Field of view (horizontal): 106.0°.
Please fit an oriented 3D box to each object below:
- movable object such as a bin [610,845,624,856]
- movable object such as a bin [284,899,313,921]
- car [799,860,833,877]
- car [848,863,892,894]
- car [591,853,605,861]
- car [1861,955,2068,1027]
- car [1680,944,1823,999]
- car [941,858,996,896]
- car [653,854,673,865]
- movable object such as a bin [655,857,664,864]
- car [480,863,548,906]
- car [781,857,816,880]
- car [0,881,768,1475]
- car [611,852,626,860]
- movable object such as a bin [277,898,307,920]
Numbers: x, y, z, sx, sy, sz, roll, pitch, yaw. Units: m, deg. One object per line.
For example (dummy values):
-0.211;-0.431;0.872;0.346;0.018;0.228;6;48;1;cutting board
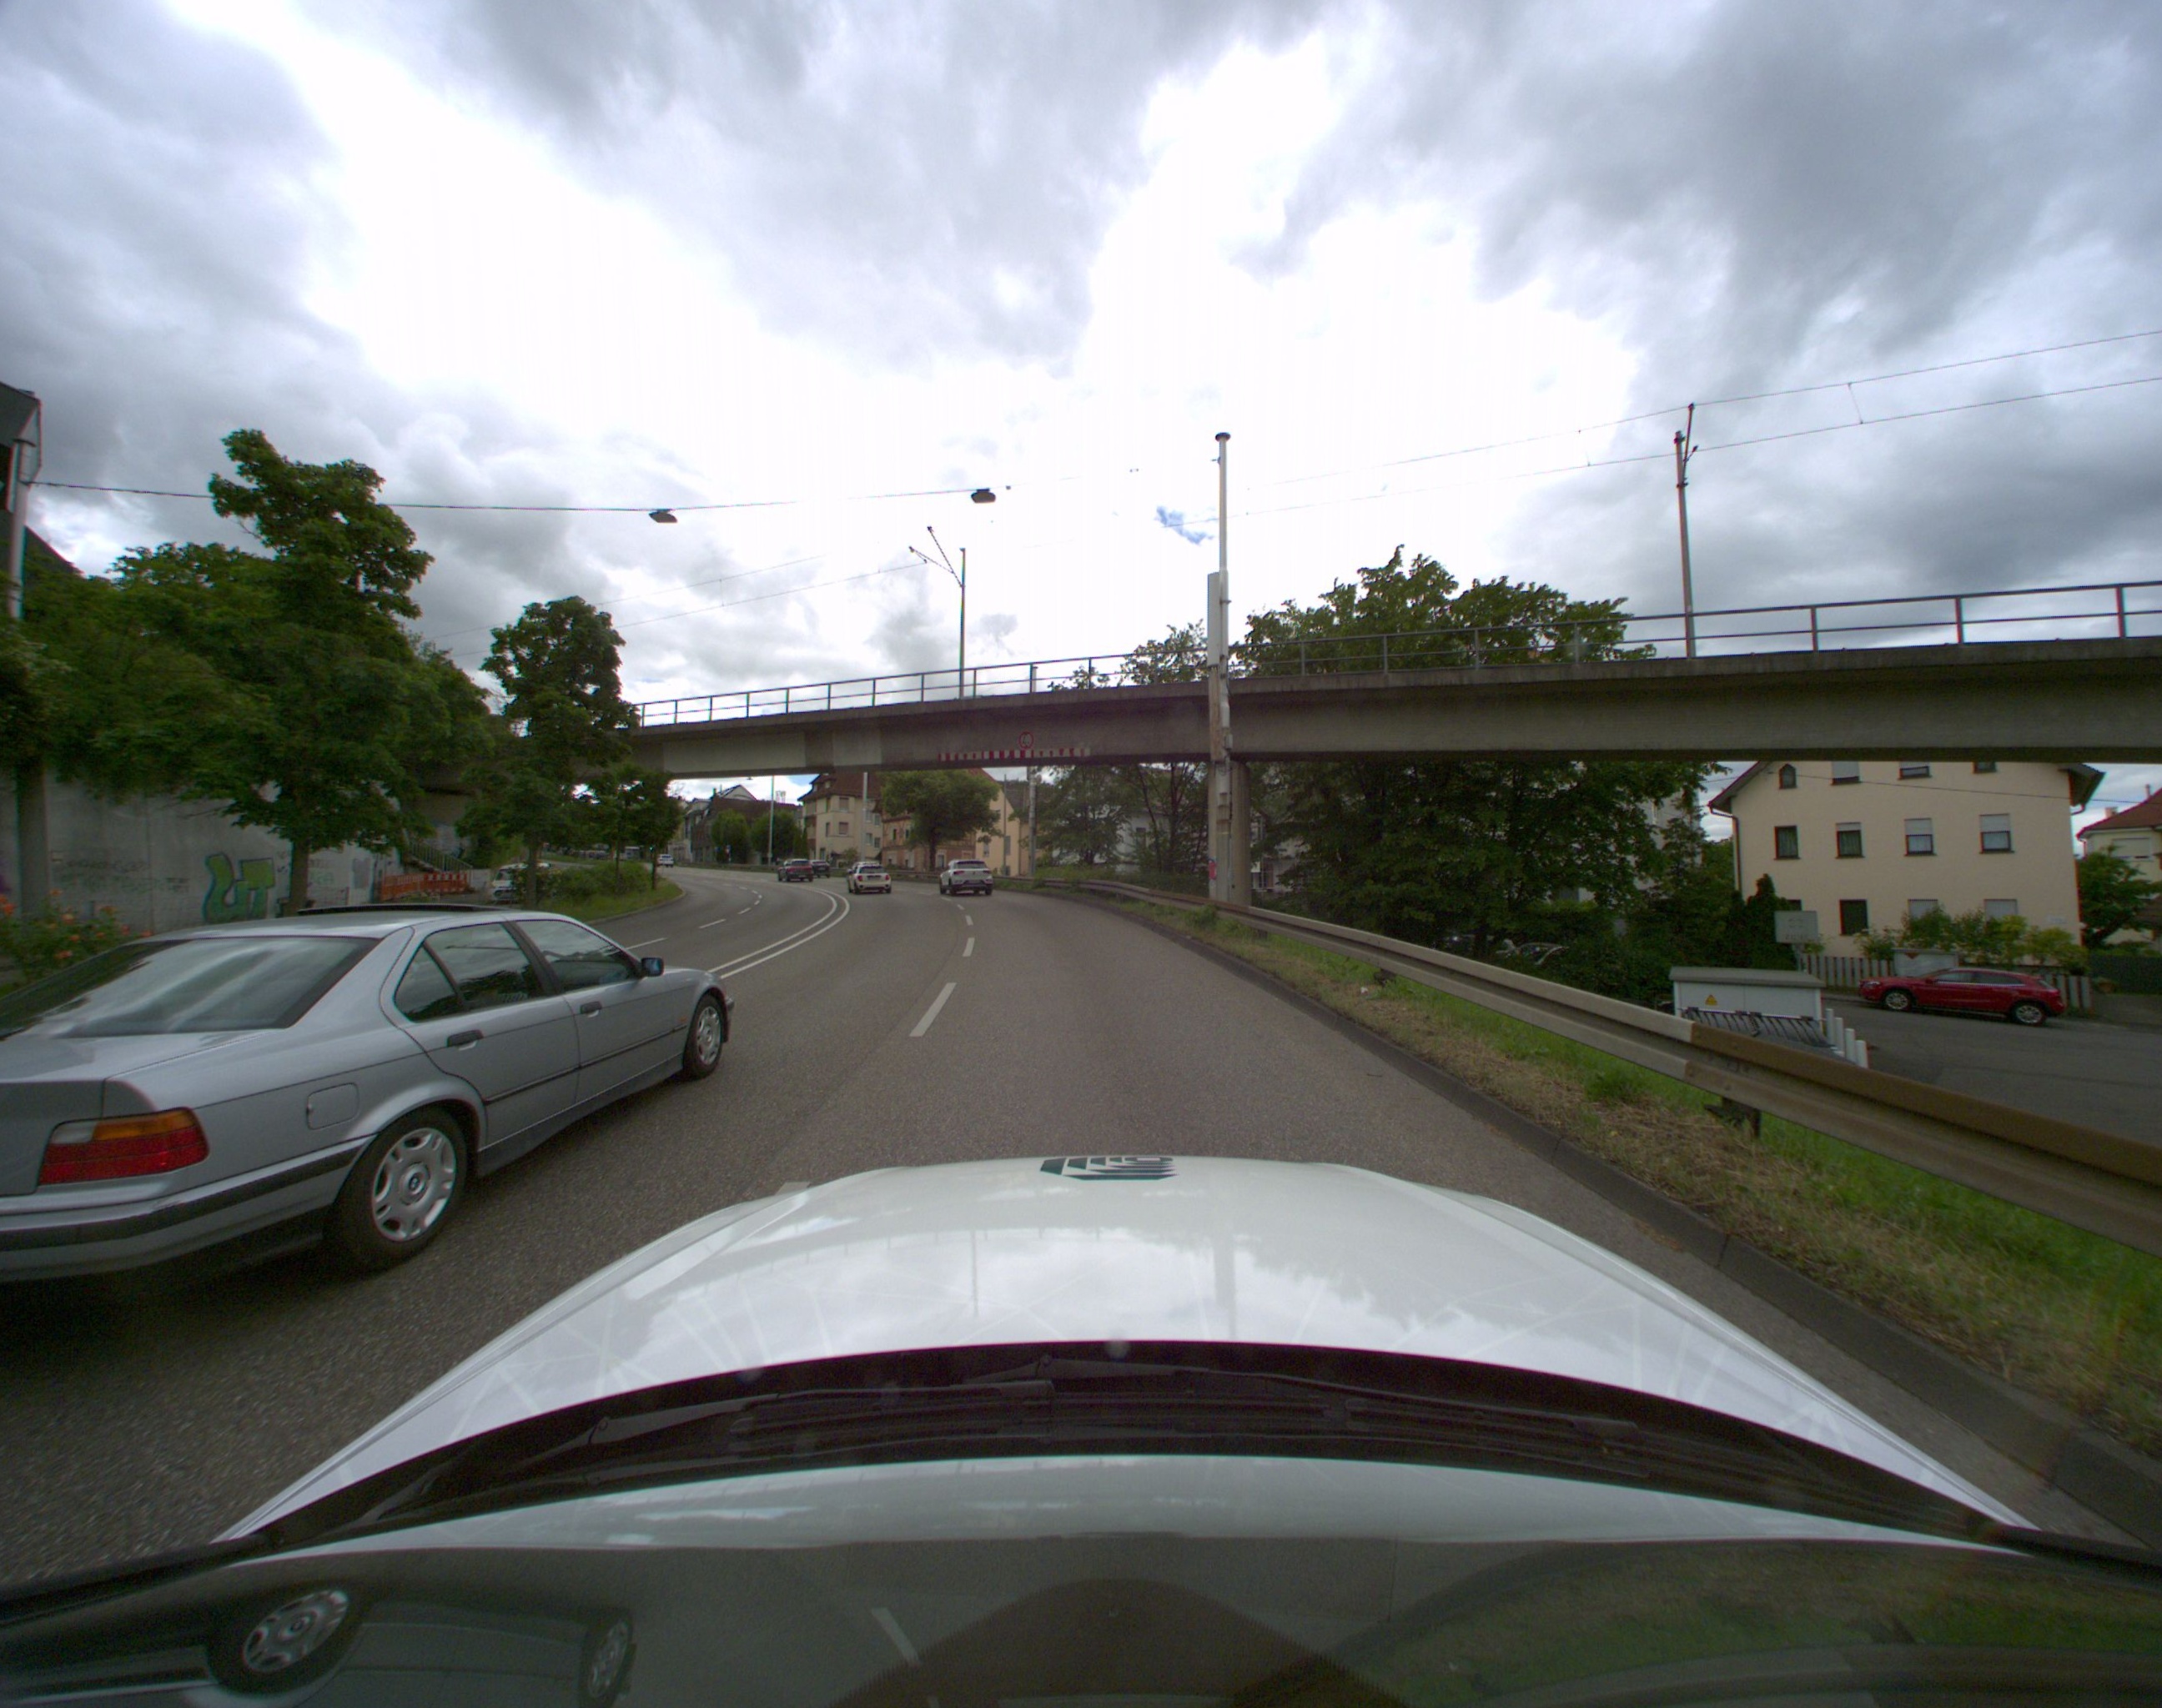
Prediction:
-89.125;-0.664;156.437;1.509;1.870;1.909;2;-2;43;movable object such as a bin
-25.326;1.815;26.355;0.561;0.640;0.575;4;-1;-35;movable object such as a bin
-22.060;1.178;67.794;1.736;1.376;3.419;-1;0;-36;car
-10.354;1.162;39.851;1.729;1.376;3.432;-1;0;-21;car
-84.714;0.474;142.792;1.737;1.376;3.416;-1;0;-39;car
27.196;4.166;25.310;4.251;1.521;1.633;2;-2;44;car
23.860;4.133;29.064;1.660;1.395;3.724;4;-2;-43;car
-4.973;0.951;35.559;1.802;1.519;3.435;-1;0;-18;car
-54.266;0.741;105.704;1.737;1.376;3.416;-1;0;-39;car
-82.060;1.256;158.549;1.205;1.408;0.703;5;-2;-39;movable object such as a bin
-26.407;1.367;38.059;1.775;1.785;4.428;-3;1;-25;car
-20.407;1.021;58.786;1.734;1.640;3.422;-1;0;-31;car
-3.408;0.960;4.437;1.630;1.382;4.617;-3;0;-1;car
-82.292;0.400;144.930;1.737;1.376;3.416;-1;0;-39;car
-24.957;1.745;25.778;0.561;0.640;0.575;4;-1;-35;movable object such as a bin
